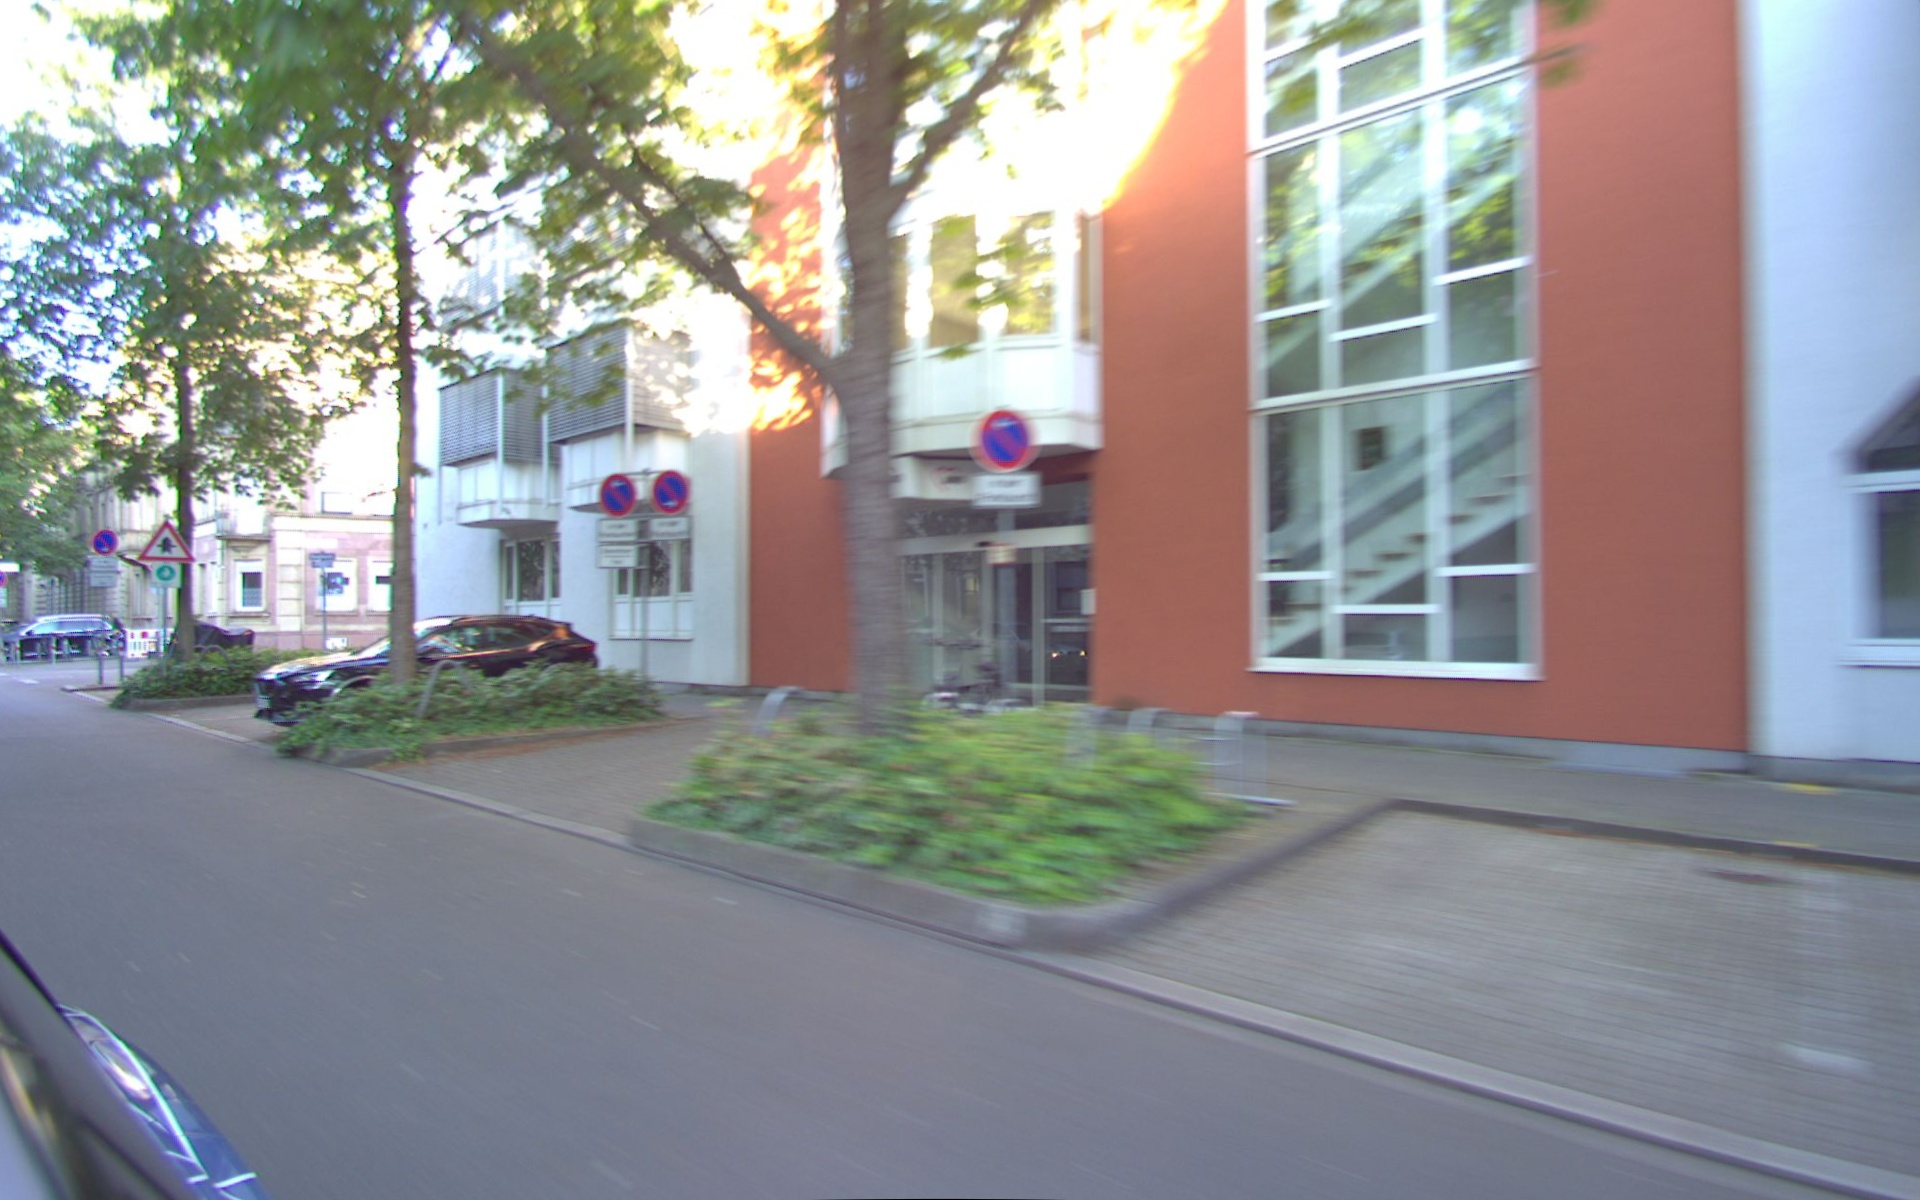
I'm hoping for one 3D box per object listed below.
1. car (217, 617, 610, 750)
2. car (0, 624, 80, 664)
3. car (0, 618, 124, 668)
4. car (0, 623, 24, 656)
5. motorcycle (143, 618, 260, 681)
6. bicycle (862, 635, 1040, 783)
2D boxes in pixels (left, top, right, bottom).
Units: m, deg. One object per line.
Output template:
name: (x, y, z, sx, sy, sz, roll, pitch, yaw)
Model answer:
car: (-7.408, 1.018, 14.111, 1.870, 1.537, 4.463, -1, -1, 40)
car: (-39.454, 1.825, 42.293, 3.936, 1.597, 2.004, 1, -2, -39)
car: (-33.727, 1.558, 37.152, 4.538, 1.748, 2.142, 1, -2, -45)
car: (-51.996, 2.099, 52.794, 1.999, 1.729, 4.470, -1, -1, 41)
motorcycle: (-18.740, 1.199, 25.069, 0.895, 1.481, 2.218, -1, -1, 18)
bicycle: (-0.029, 0.923, 9.279, 0.654, 1.185, 1.942, -1, -2, 34)
